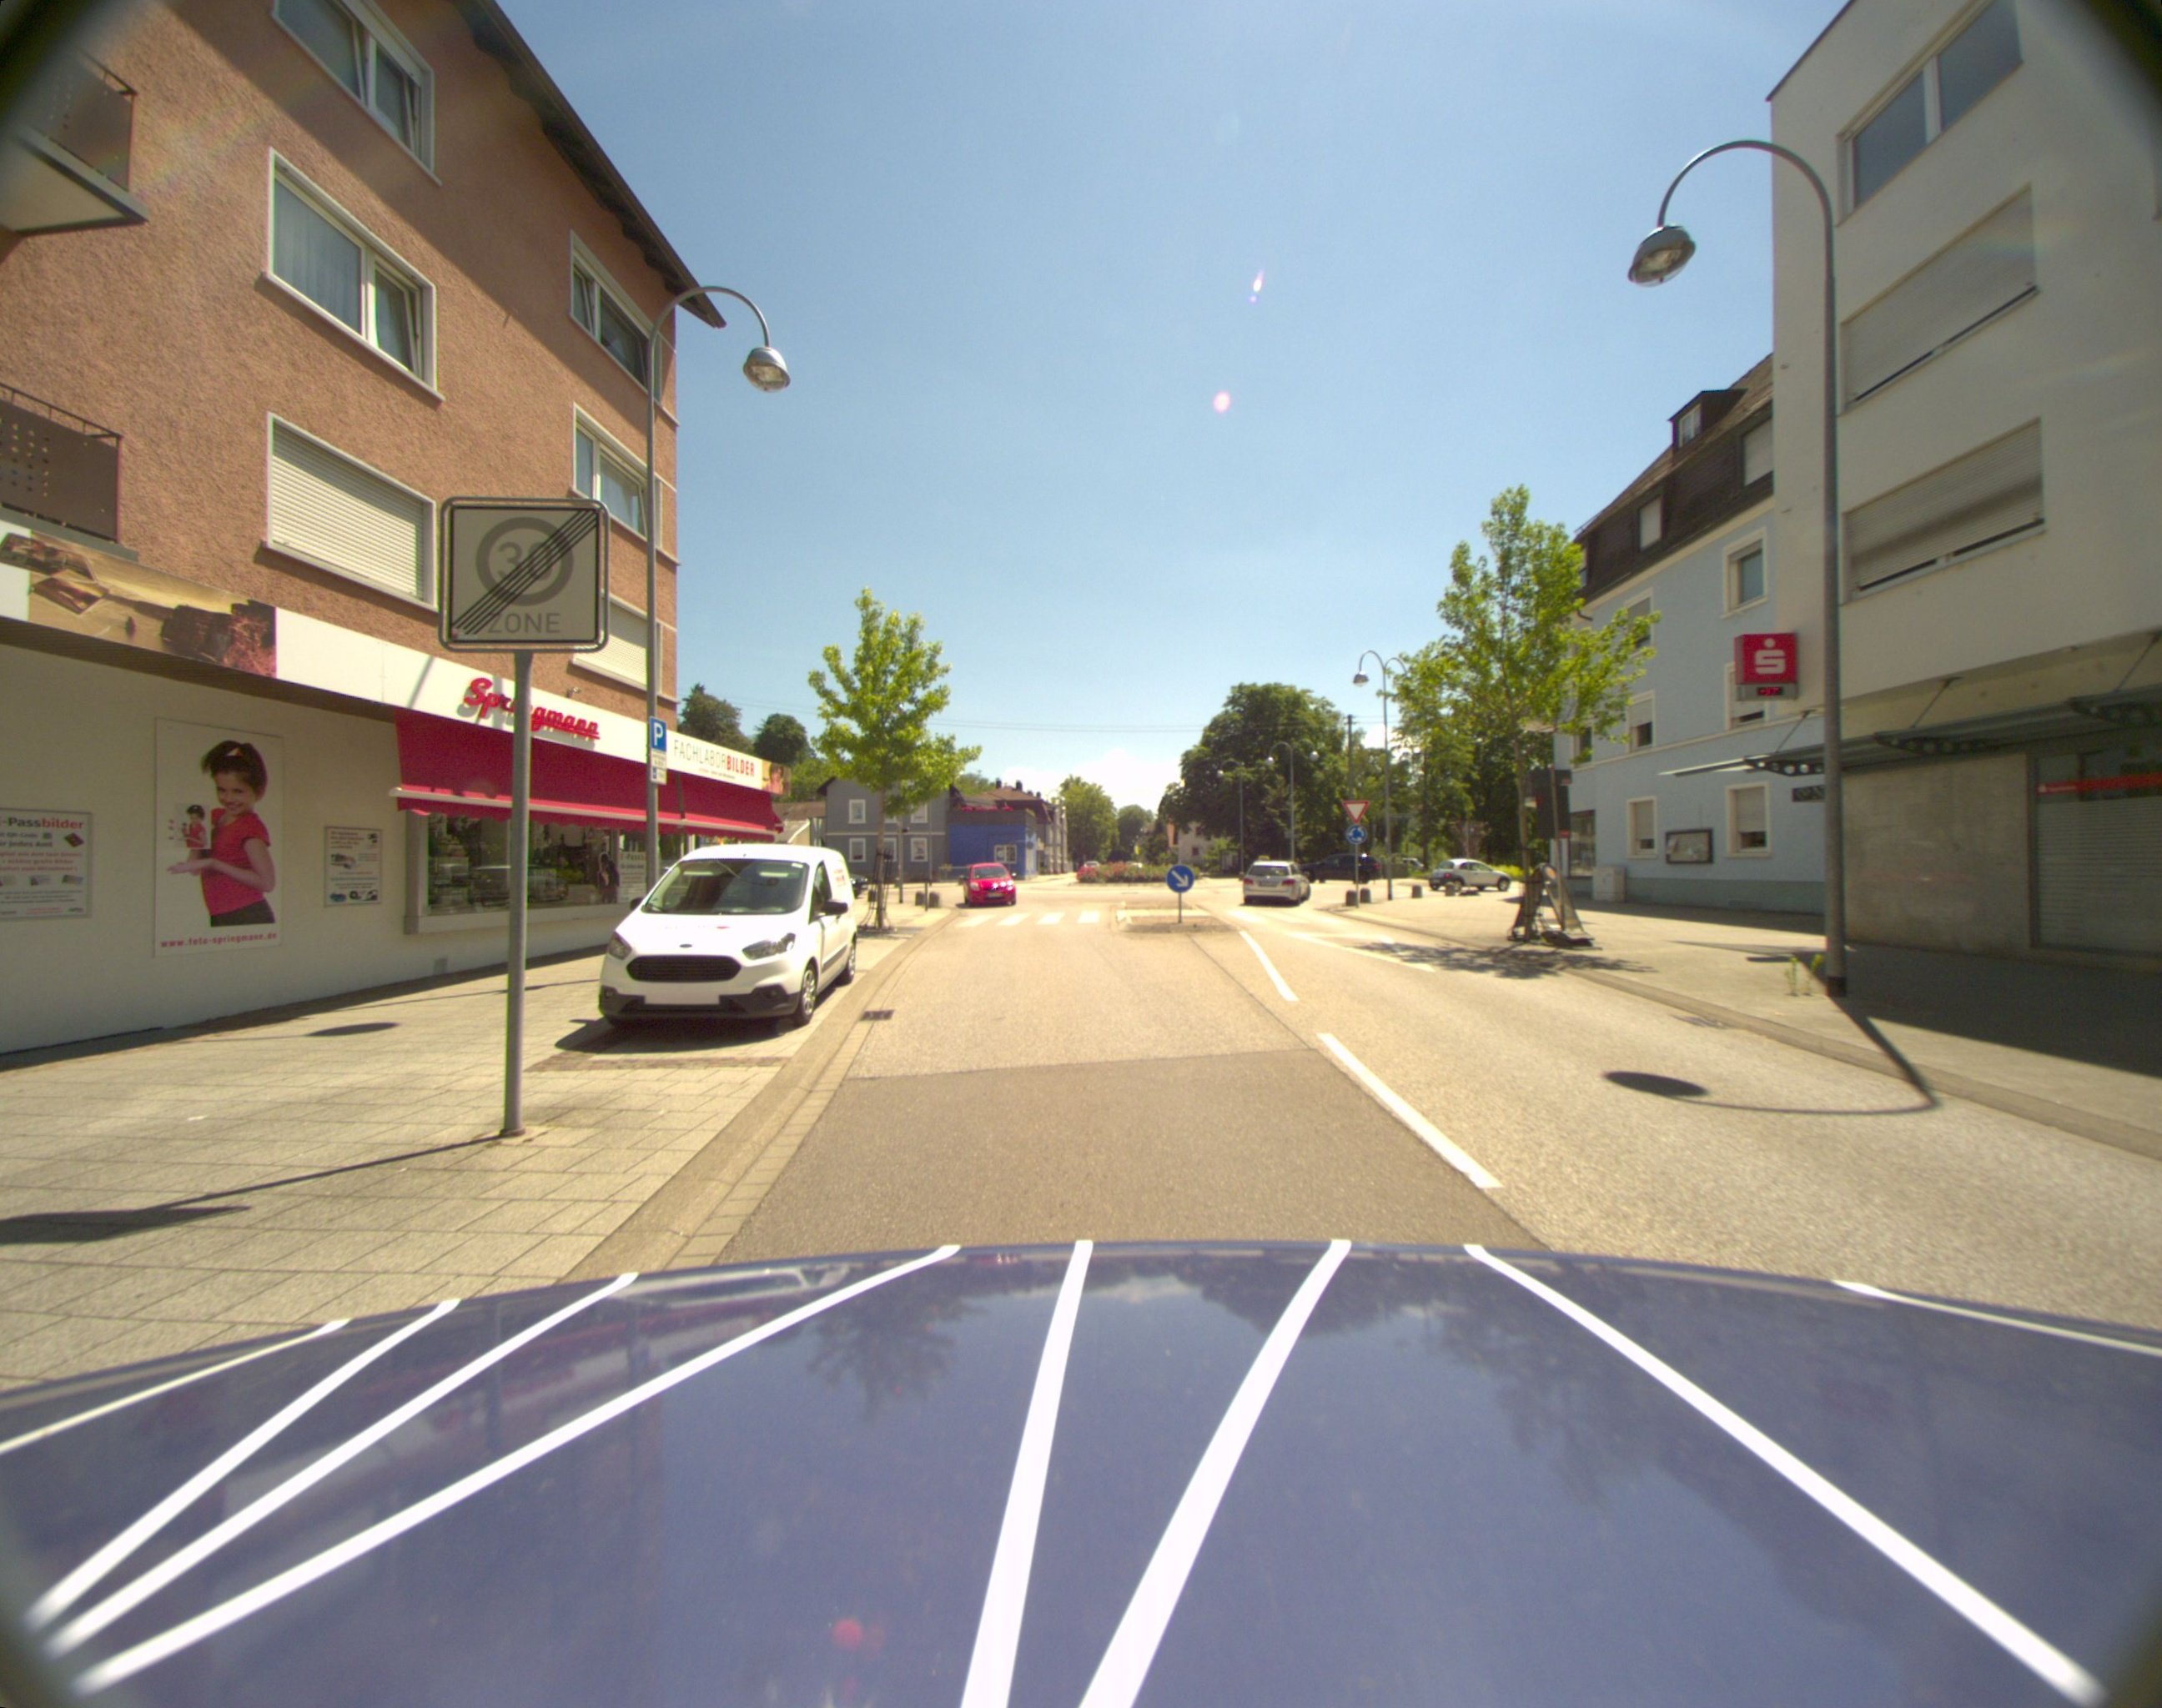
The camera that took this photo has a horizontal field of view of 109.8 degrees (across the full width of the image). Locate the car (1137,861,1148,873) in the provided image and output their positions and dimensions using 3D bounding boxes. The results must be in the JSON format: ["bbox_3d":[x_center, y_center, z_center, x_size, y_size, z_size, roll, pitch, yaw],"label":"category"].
[{"bbox_3d":[11.449,2.450,142.034,1.998,2.001,4.003,0,-3,2],"label":"car"}]

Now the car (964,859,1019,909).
[{"bbox_3d":[-3.382,1.059,28.402,1.834,1.524,3.996,-3,2,-8],"label":"car"}]

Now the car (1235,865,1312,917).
[{"bbox_3d":[6.881,1.219,26.799,1.995,1.583,5.007,1,0,21],"label":"car"}]

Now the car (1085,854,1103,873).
[{"bbox_3d":[1.540,1.103,87.025,1.998,2.001,4.003,0,-3,2],"label":"car"}]

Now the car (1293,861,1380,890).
[{"bbox_3d":[14.528,1.230,43.264,4.608,1.575,1.952,-1,-3,21],"label":"car"}]

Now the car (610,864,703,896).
[{"bbox_3d":[-24.810,1.480,44.578,4.288,1.576,1.996,-1,4,-13],"label":"car"}]

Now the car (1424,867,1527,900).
[{"bbox_3d":[17.763,1.317,34.313,3.788,1.449,1.704,0,0,-4],"label":"car"}]

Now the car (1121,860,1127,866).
[{"bbox_3d":[13.592,2.981,241.368,1.739,1.695,4.002,-2,-3,0],"label":"car"}]

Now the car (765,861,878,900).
[{"bbox_3d":[-11.993,1.207,35.331,4.522,1.678,2.000,-1,1,2],"label":"car"}]

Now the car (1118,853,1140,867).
[{"bbox_3d":[6.519,0.869,103.485,2.000,1.552,4.165,5,-4,-8],"label":"car"}]

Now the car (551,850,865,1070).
[{"bbox_3d":[-3.494,0.848,7.979,1.752,1.714,3.908,1,0,-7],"label":"car"}]

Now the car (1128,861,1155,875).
[{"bbox_3d":[6.969,1.599,87.166,1.928,1.372,4.298,-2,-5,21],"label":"car"}]

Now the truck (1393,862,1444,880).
[{"bbox_3d":[46.741,2.408,105.331,6.201,2.428,2.270,-1,-3,35],"label":"truck"}]
